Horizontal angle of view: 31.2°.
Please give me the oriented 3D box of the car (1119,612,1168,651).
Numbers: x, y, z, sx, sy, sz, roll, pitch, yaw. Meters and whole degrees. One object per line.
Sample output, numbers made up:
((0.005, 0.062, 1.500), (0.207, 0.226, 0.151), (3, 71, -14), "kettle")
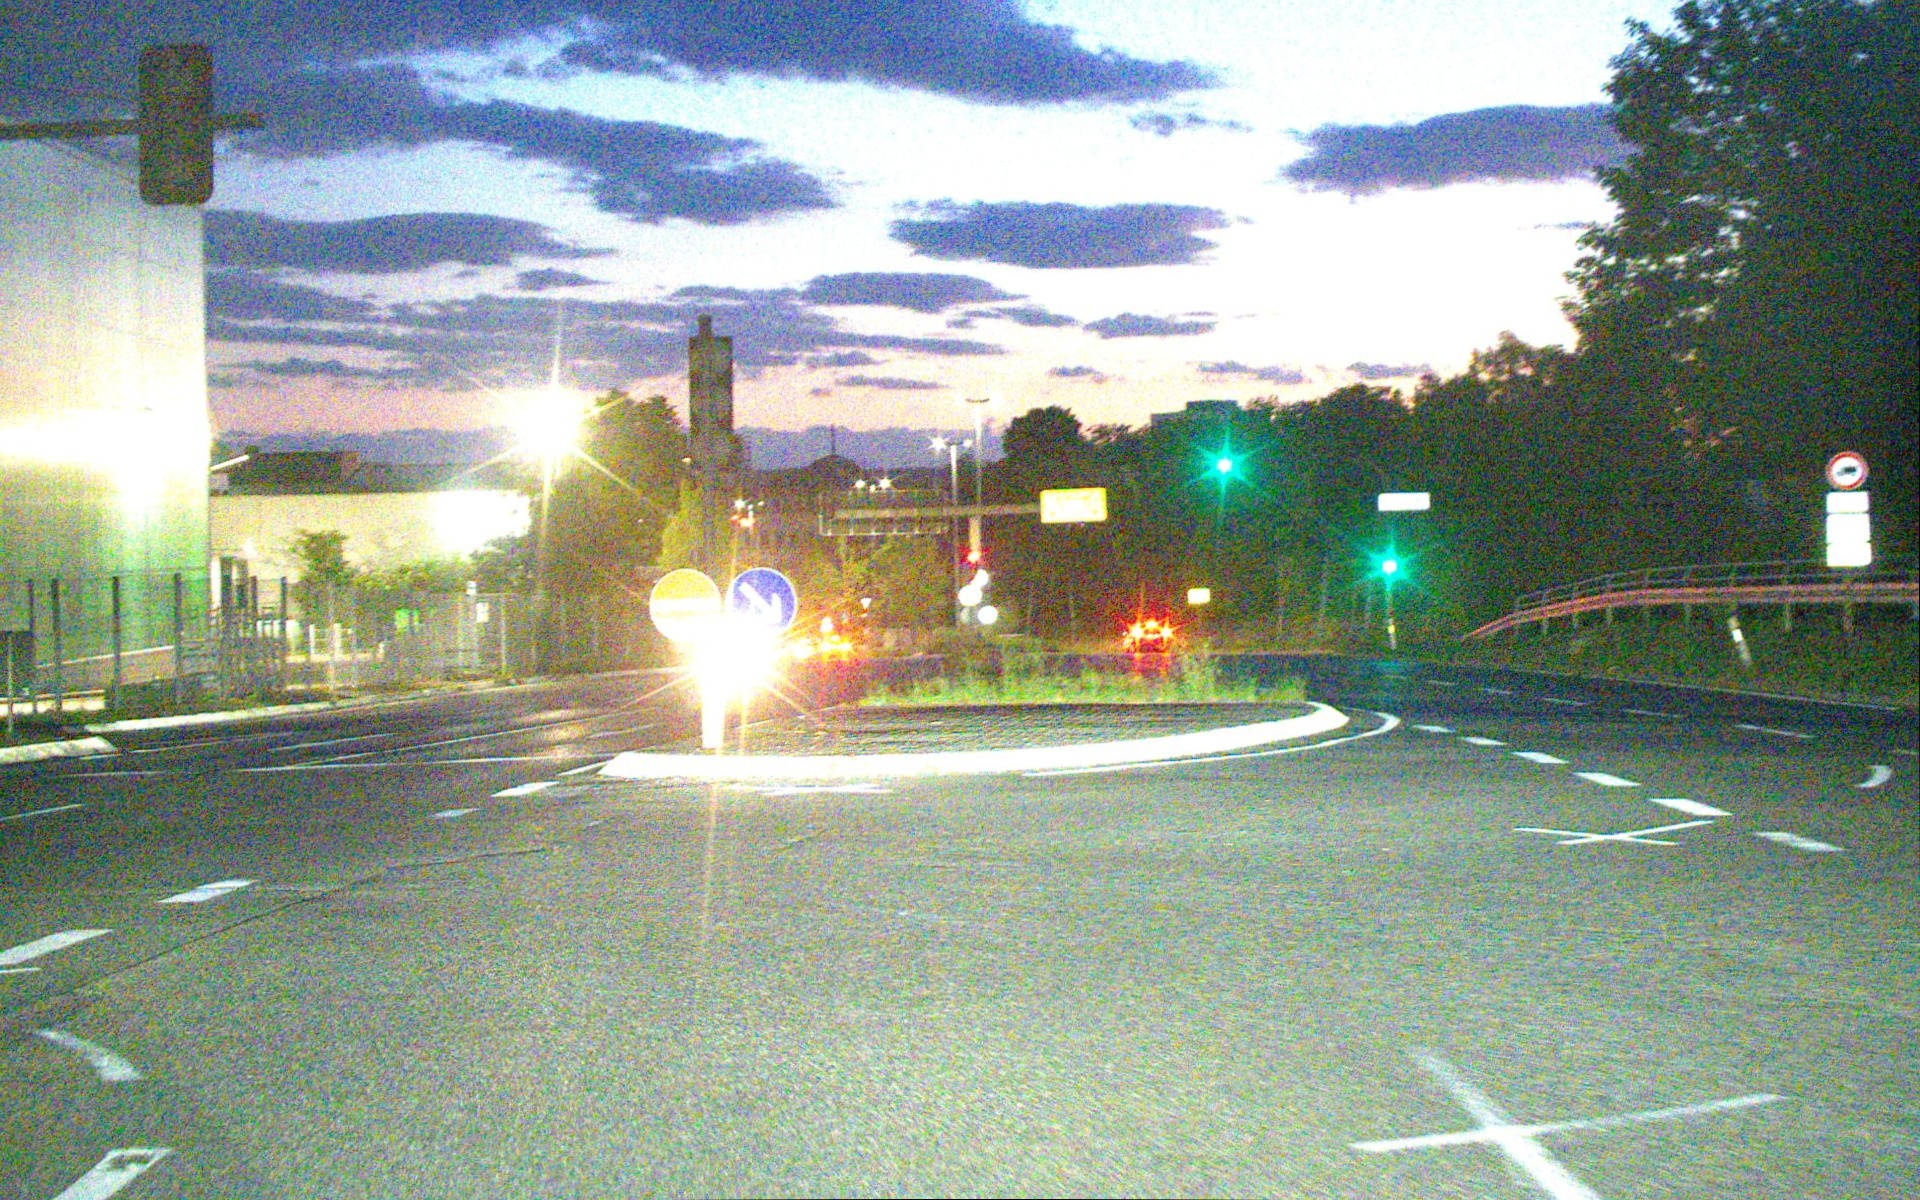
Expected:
((8.227, 1.418, 154.566), (1.935, 1.640, 4.000), (-1, 1, -1), "car")
